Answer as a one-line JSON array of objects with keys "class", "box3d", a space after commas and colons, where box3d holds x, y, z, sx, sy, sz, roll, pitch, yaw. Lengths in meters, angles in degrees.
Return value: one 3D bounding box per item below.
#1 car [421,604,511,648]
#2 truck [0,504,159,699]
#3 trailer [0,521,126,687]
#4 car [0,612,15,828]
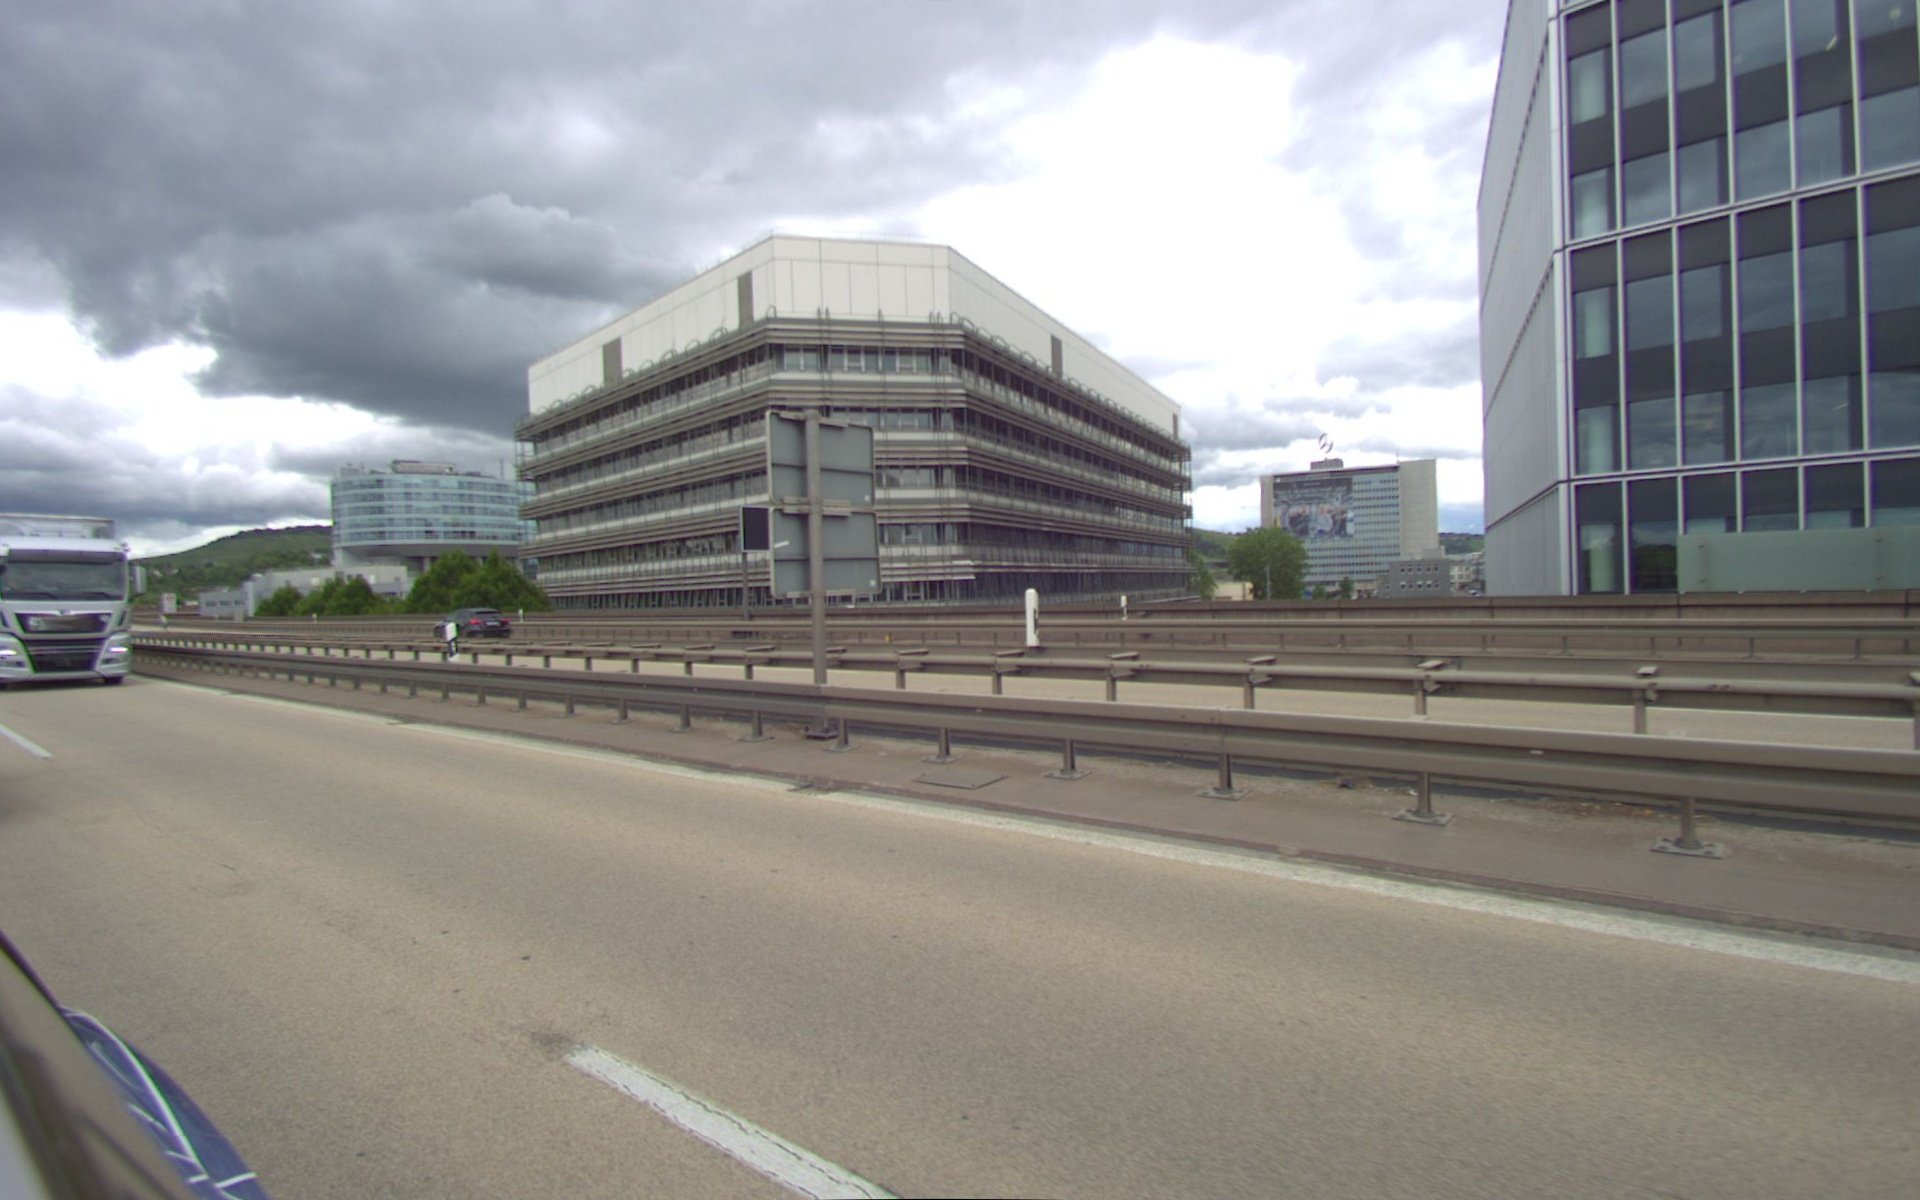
[{"class": "car", "box3d": [-20.366, 1.048, 41.626, 4.356, 1.662, 1.666, -1, 1, 40]}, {"class": "truck", "box3d": [-21.504, 0.020, 23.851, 5.687, 4.067, 3.101, -1, 2, 42]}, {"class": "trailer", "box3d": [-27.275, 0.127, 29.203, 11.762, 4.056, 3.148, -1, 1, 42]}, {"class": "car", "box3d": [-8.826, 0.870, 7.939, 4.063, 1.519, 1.904, -1, 0, 45]}]
